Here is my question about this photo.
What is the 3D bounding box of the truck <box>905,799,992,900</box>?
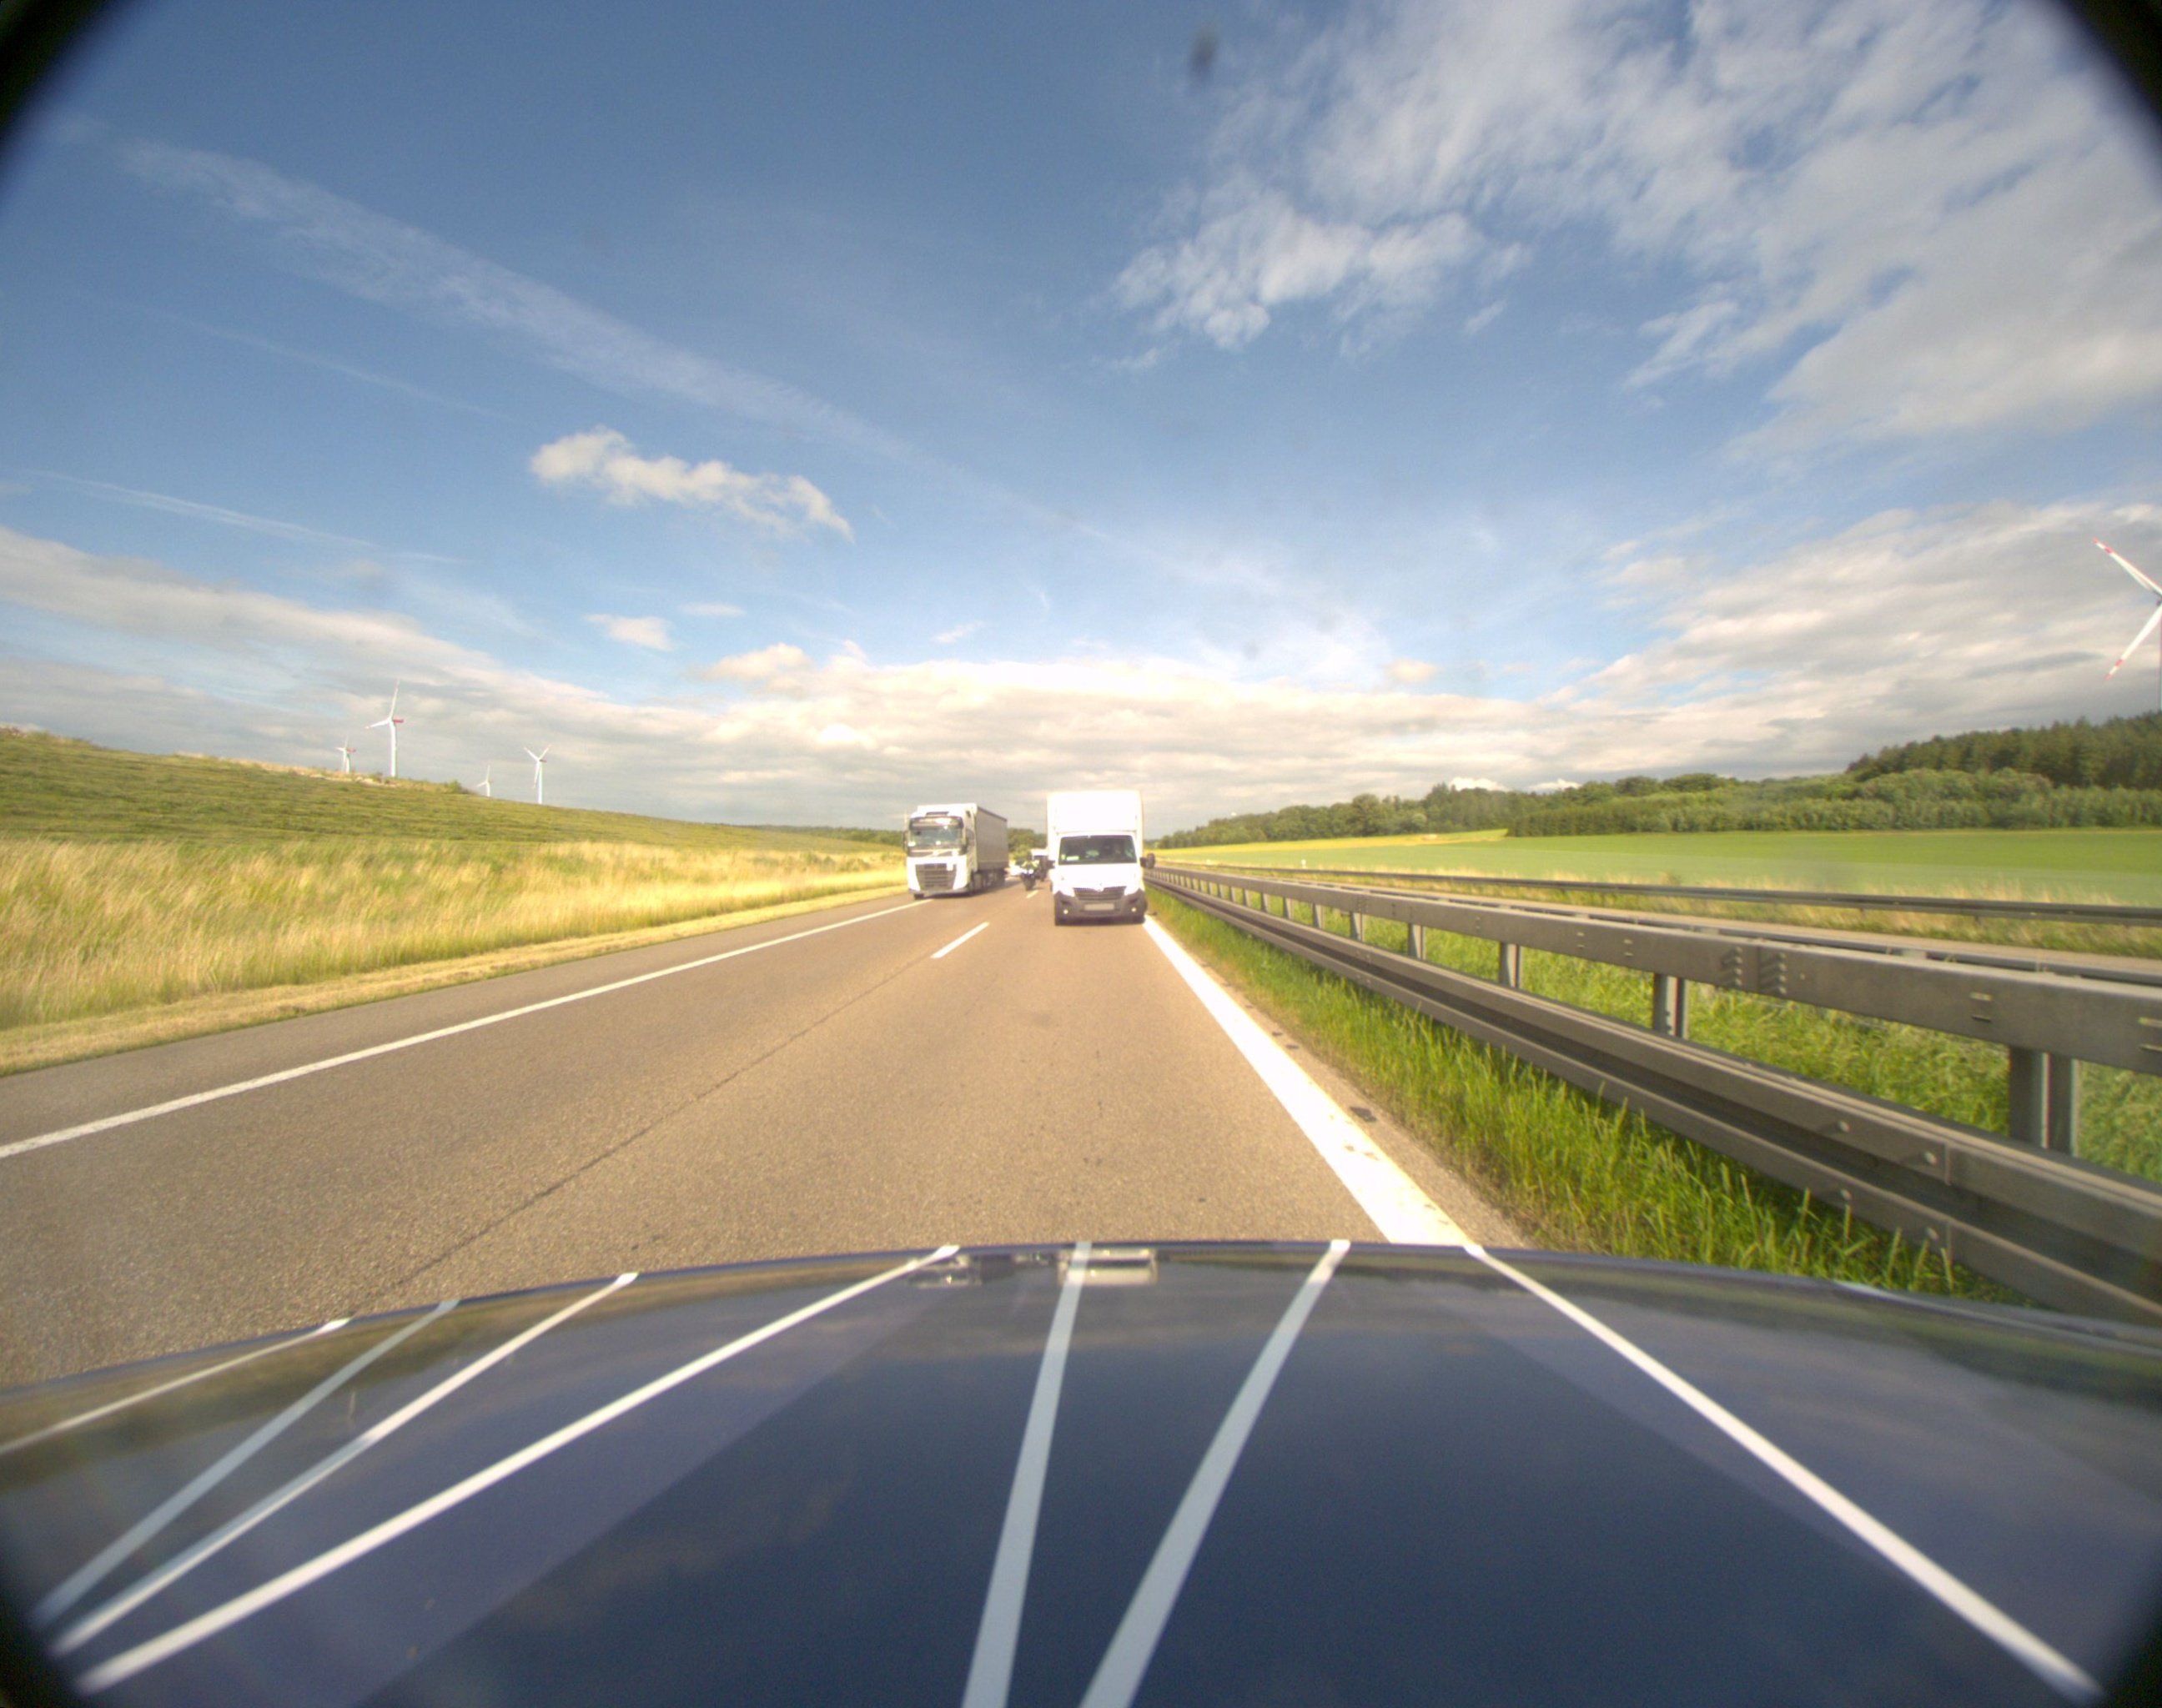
[{"bbox_3d":[-5.653,-0.176,33.372,2.607,4.017,6.120,0,0,1],"label":"truck"}]

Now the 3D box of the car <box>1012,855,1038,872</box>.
[{"bbox_3d":[-4.968,0.821,67.589,1.871,1.409,4.461,-1,1,1],"label":"car"}]

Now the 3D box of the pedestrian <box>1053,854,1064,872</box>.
[{"bbox_3d":[-1.910,0.758,64.554,0.898,1.447,0.983,-1,1,0],"label":"pedestrian"}]

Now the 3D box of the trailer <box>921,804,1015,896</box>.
[{"bbox_3d":[-5.547,-0.156,40.080,2.623,4.017,13.700,0,0,1],"label":"trailer"}]

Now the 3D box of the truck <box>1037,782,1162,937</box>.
[{"bbox_3d":[0.377,0.137,21.290,2.502,3.141,11.163,-1,0,0],"label":"truck"}]

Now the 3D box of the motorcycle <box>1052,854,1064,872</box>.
[{"bbox_3d":[-1.942,0.757,64.721,0.898,1.447,2.269,-1,1,0],"label":"motorcycle"}]

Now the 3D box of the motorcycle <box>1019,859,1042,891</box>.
[{"bbox_3d":[-2.395,0.970,36.446,0.898,1.447,2.269,-1,1,0],"label":"motorcycle"}]

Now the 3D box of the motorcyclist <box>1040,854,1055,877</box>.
[{"bbox_3d":[-2.144,0.717,49.394,0.898,1.447,0.892,-1,1,0],"label":"motorcyclist"}]

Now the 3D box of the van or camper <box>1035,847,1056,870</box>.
[{"bbox_3d":[-4.140,0.493,90.067,2.102,2.530,6.412,-1,1,1],"label":"van or camper"}]

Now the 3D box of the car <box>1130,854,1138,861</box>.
[{"bbox_3d":[13.073,0.860,187.824,1.739,1.579,4.116,-1,1,1],"label":"car"}]

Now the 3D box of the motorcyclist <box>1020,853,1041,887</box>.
[{"bbox_3d":[-2.395,0.747,36.461,0.898,1.608,1.022,-1,1,0],"label":"motorcyclist"}]

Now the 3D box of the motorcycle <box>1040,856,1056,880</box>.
[{"bbox_3d":[-2.132,0.902,49.441,0.898,1.447,1.982,-1,1,0],"label":"motorcycle"}]
